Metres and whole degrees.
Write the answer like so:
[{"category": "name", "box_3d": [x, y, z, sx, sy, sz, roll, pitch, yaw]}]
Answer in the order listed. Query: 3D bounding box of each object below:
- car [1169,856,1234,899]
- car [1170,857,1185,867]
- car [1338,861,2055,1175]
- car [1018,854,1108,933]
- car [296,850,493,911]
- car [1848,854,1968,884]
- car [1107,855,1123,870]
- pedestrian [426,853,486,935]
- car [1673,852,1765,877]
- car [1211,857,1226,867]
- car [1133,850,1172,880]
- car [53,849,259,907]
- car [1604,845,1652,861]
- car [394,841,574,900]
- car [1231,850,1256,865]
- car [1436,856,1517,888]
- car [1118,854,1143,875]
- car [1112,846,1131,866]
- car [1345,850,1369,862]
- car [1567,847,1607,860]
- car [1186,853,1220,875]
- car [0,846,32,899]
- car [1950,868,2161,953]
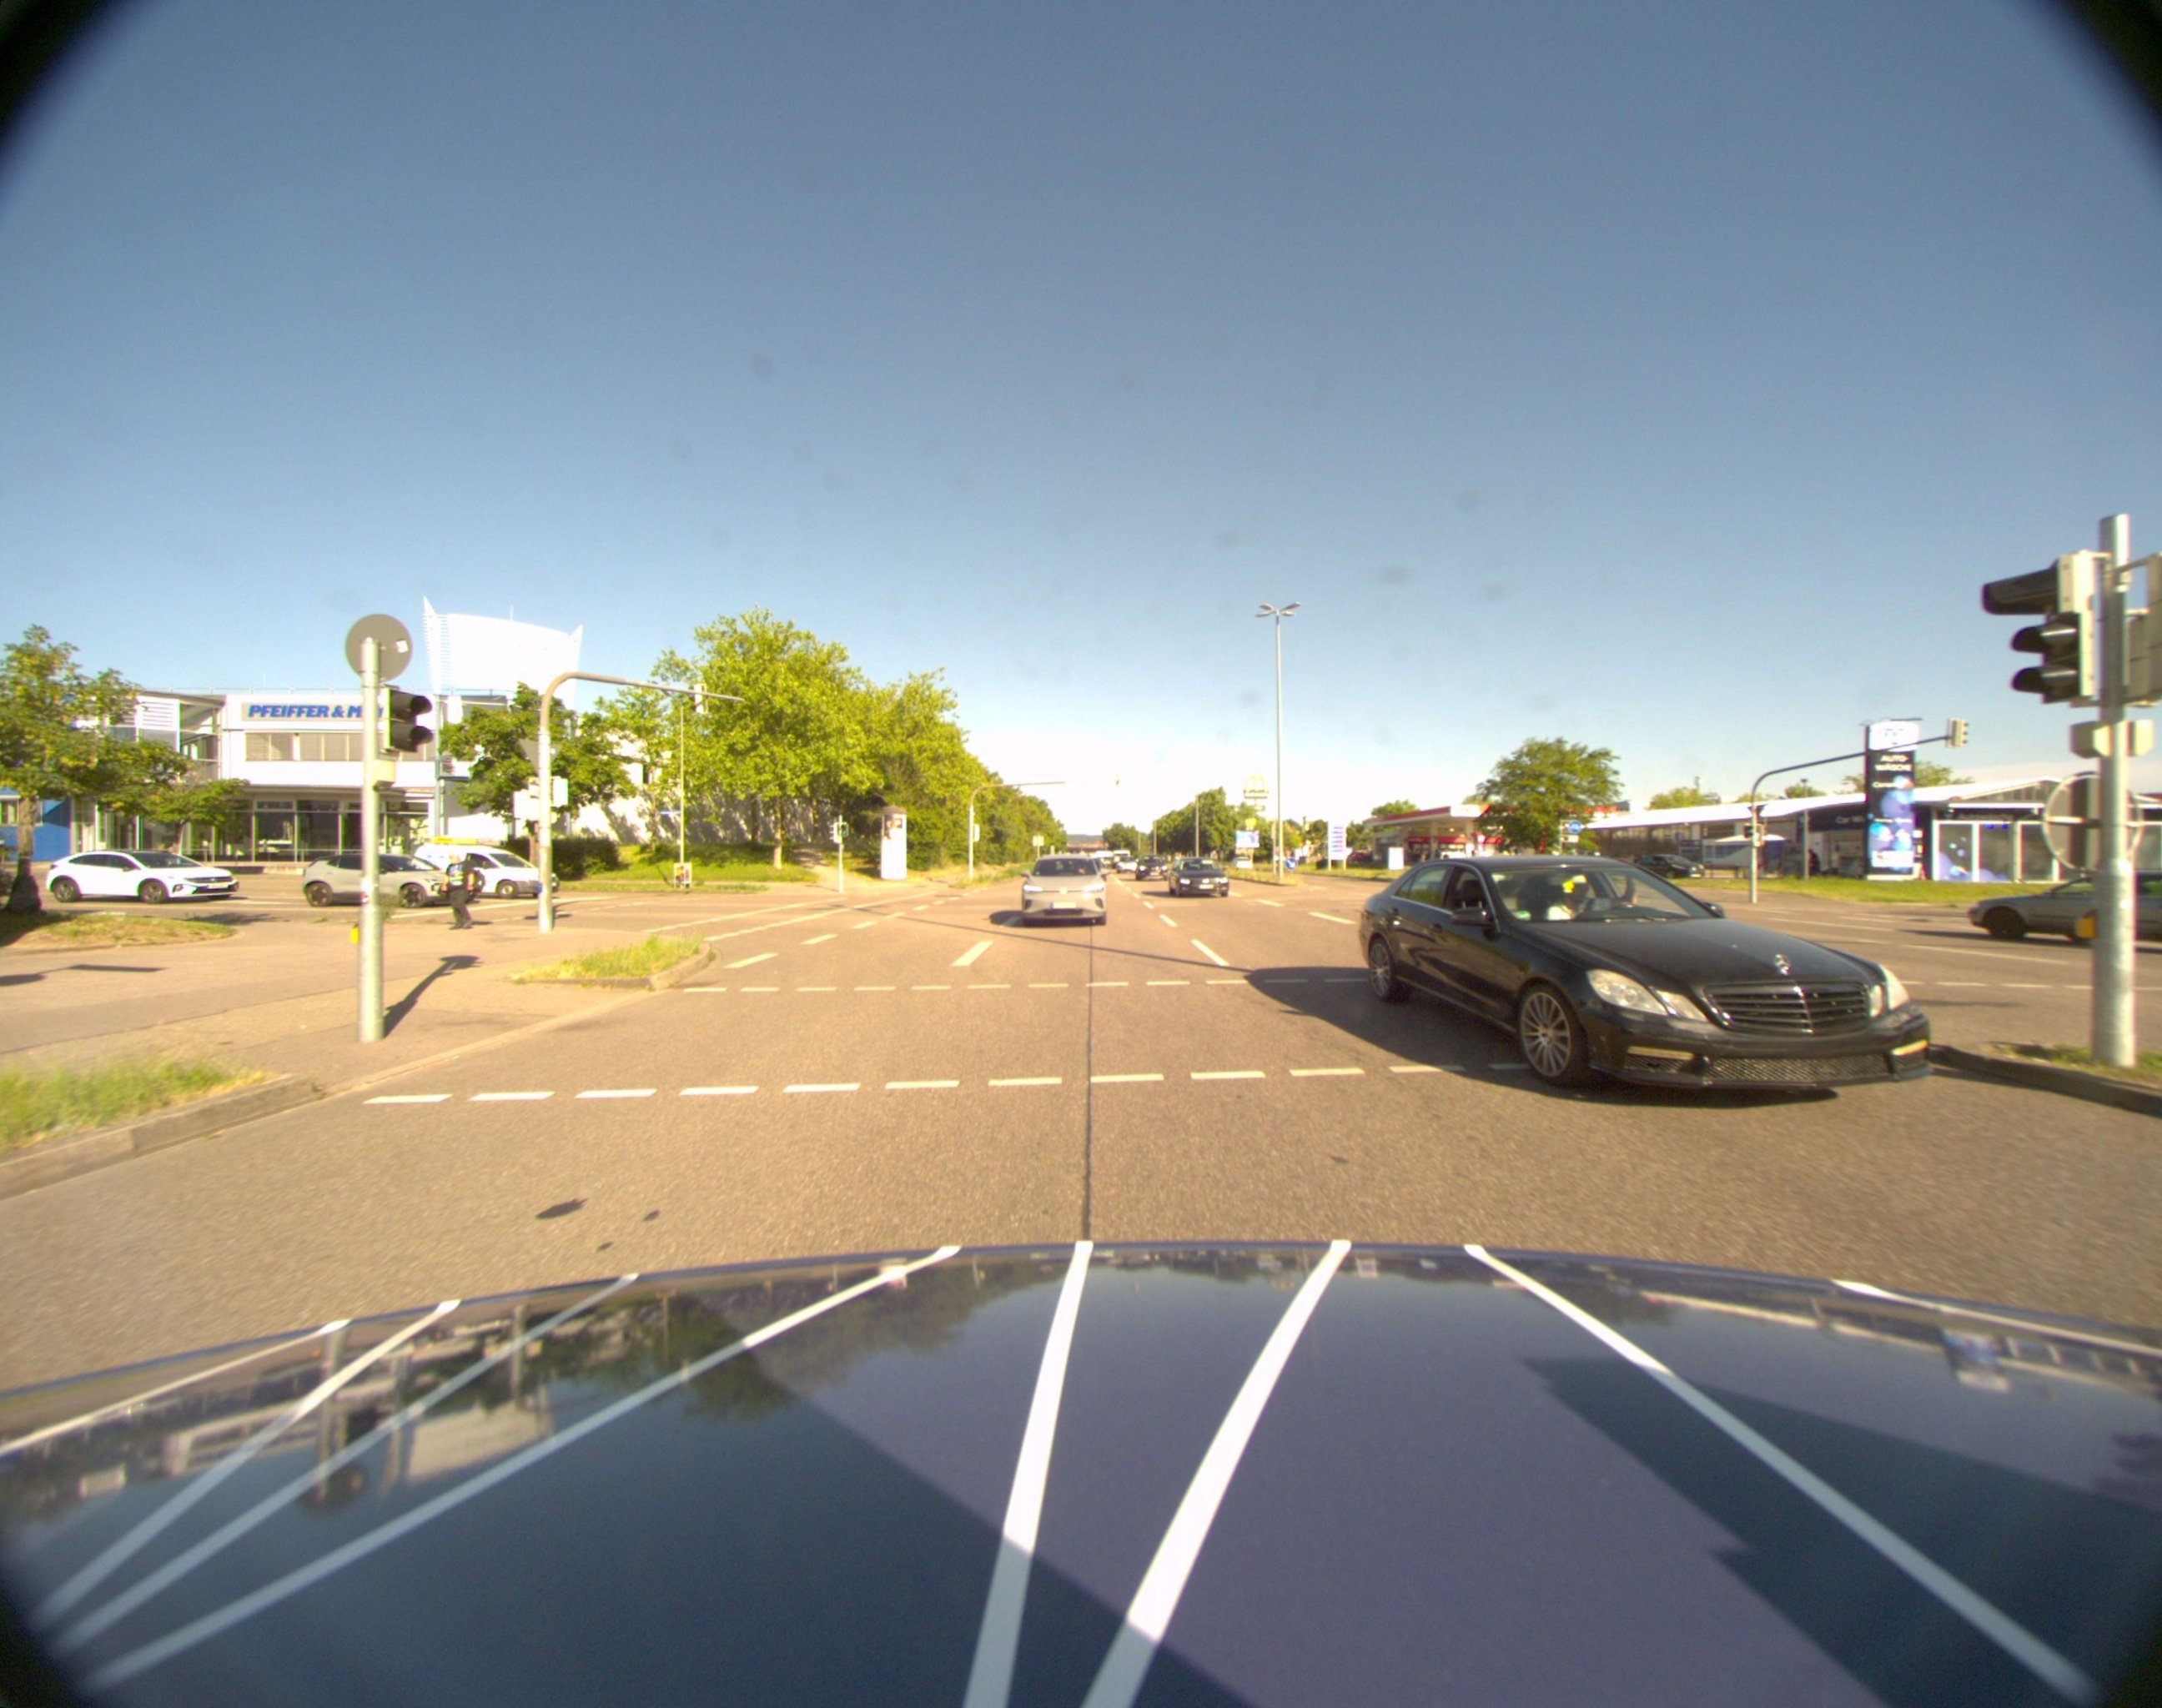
[{"category": "car", "box_3d": [4.427, 0.808, 28.507, 1.848, 1.445, 4.265, -1, 0, 1]}, {"category": "car", "box_3d": [13.831, 1.113, 108.661, 1.699, 1.424, 3.664, 1, 1, 1]}, {"category": "car", "box_3d": [3.873, 0.844, 6.222, 1.964, 1.474, 4.918, -1, 0, 1]}, {"category": "car", "box_3d": [-0.328, 0.826, 18.107, 1.848, 1.615, 4.265, -1, 0, 1]}, {"category": "car", "box_3d": [-20.194, 0.738, 22.474, 4.100, 1.636, 1.901, 1, 2, 1]}, {"category": "car", "box_3d": [43.038, 0.785, 39.619, 4.116, 1.424, 1.901, 1, 1, 1]}, {"category": "car", "box_3d": [4.756, 1.131, 105.705, 1.998, 2.002, 4.000, -2, 1, 1]}, {"category": "pedestrian", "box_3d": [-13.310, 0.833, 16.191, 0.759, 1.706, 0.617, 0, 1, 1]}, {"category": "car", "box_3d": [37.745, 0.590, 45.097, 1.900, 1.317, 4.119, 1, 1, -1]}, {"category": "car", "box_3d": [21.880, 1.234, 120.787, 1.699, 1.424, 4.458, 1, 1, 1]}, {"category": "car", "box_3d": [4.418, 0.648, 47.331, 1.998, 1.674, 4.695, -2, 1, 1]}, {"category": "car", "box_3d": [-27.389, 0.683, 22.588, 3.928, 1.580, 1.808, 1, 2, 1]}, {"category": "car", "box_3d": [57.042, -0.107, 79.312, 1.900, 1.582, 4.119, 1, 1, 0]}, {"category": "car", "box_3d": [-20.317, 0.551, 25.982, 4.692, 1.923, 1.872, 0, 1, 1]}, {"category": "car", "box_3d": [17.769, 0.394, 83.469, 1.900, 1.590, 4.267, 1, 1, 1]}, {"category": "car", "box_3d": [20.239, 0.887, 39.067, 1.998, 1.516, 4.196, 0, 0, 1]}, {"category": "car", "box_3d": [4.478, 0.920, 68.638, 1.998, 1.779, 4.270, -2, 1, 1]}, {"category": "car", "box_3d": [4.865, 0.233, 92.267, 2.089, 2.229, 4.000, -2, 1, 1]}, {"category": "car", "box_3d": [38.879, 0.225, 107.047, 1.762, 1.604, 4.119, 1, 1, -1]}, {"category": "car", "box_3d": [57.031, -0.056, 85.772, 1.772, 1.432, 4.119, 0, 0, -1]}, {"category": "car", "box_3d": [8.290, 0.667, 51.963, 1.790, 1.447, 4.116, 0, 0, 1]}, {"category": "car", "box_3d": [-34.538, 0.549, 22.691, 3.928, 1.580, 1.808, 1, 2, 1]}, {"category": "car", "box_3d": [19.714, 1.017, 14.058, 1.998, 1.368, 4.623, 0, 1, 1]}]
